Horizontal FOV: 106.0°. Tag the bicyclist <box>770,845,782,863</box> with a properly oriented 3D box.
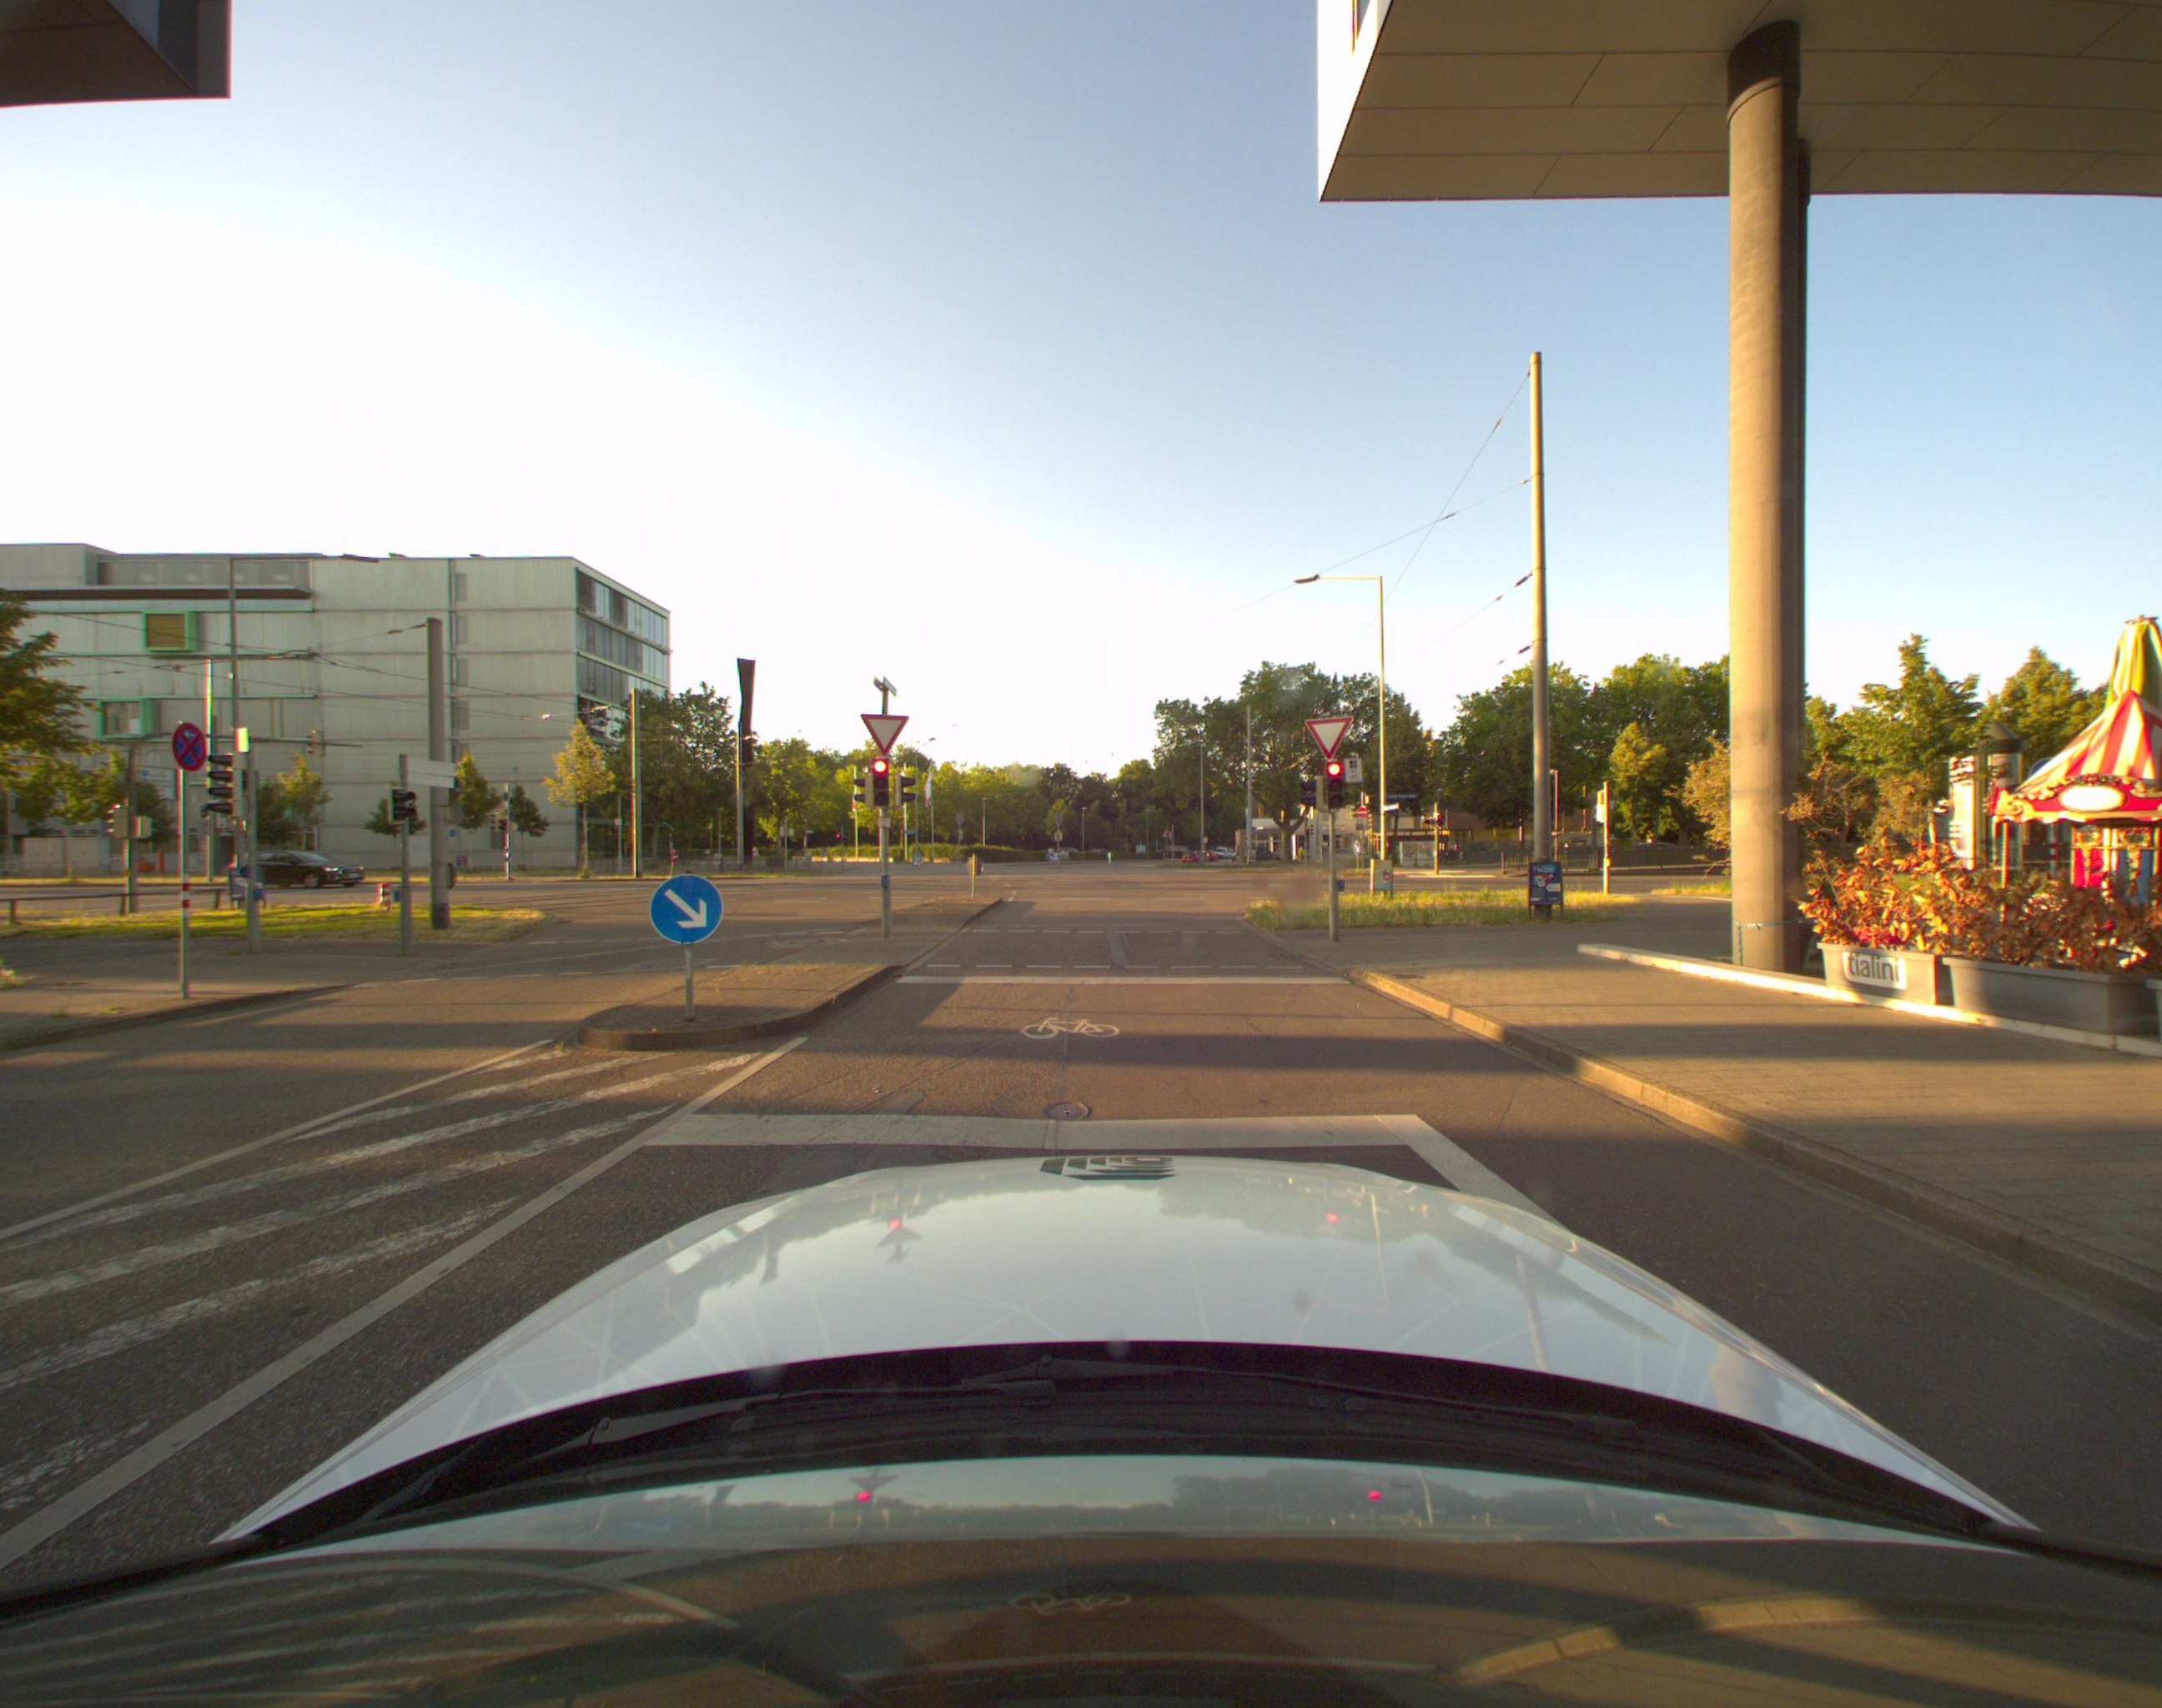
[{"bbox_3d":[-29.661,0.015,79.086,0.908,1.709,0.758,-1,0,43],"label":"bicyclist"}]

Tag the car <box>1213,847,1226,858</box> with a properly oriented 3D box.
[{"bbox_3d":[22.271,-0.238,130.881,1.850,1.794,4.013,-1,-1,12],"label":"car"}]

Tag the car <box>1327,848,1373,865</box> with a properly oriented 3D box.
[{"bbox_3d":[23.732,0.214,71.906,3.715,1.440,1.669,-1,-1,11],"label":"car"}]

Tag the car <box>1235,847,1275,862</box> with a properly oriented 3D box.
[{"bbox_3d":[18.924,0.021,88.902,4.194,1.552,2.005,-1,-1,9],"label":"car"}]

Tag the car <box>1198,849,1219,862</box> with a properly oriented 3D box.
[{"bbox_3d":[16.208,0.225,103.181,1.978,1.662,4.018,-1,-1,17],"label":"car"}]

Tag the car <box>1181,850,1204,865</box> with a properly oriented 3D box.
[{"bbox_3d":[13.105,0.387,95.561,1.978,1.662,4.018,-1,-1,17],"label":"car"}]

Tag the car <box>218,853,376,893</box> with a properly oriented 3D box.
[{"bbox_3d":[-32.509,0.746,33.899,4.467,1.557,1.986,-1,0,-4],"label":"car"}]

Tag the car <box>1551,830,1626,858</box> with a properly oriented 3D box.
[{"bbox_3d":[47.919,-0.952,77.043,5.561,2.551,2.235,-1,0,9],"label":"car"}]

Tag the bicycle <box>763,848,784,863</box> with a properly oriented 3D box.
[{"bbox_3d":[-29.915,0.150,79.269,2.656,1.341,0.737,-1,0,41],"label":"bicycle"}]

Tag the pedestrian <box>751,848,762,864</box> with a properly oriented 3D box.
[{"bbox_3d":[-35.880,0.258,90.082,0.852,1.744,0.835,-1,0,37],"label":"pedestrian"}]

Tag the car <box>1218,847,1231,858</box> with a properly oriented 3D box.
[{"bbox_3d":[23.935,-0.245,135.739,1.849,1.794,4.015,-1,-1,14],"label":"car"}]

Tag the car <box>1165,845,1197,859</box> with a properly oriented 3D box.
[{"bbox_3d":[15.417,-0.320,125.731,4.753,2.006,2.002,-1,-1,3],"label":"car"}]

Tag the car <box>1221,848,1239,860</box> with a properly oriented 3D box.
[{"bbox_3d":[21.089,0.009,115.301,1.978,1.662,4.018,-1,-1,17],"label":"car"}]
